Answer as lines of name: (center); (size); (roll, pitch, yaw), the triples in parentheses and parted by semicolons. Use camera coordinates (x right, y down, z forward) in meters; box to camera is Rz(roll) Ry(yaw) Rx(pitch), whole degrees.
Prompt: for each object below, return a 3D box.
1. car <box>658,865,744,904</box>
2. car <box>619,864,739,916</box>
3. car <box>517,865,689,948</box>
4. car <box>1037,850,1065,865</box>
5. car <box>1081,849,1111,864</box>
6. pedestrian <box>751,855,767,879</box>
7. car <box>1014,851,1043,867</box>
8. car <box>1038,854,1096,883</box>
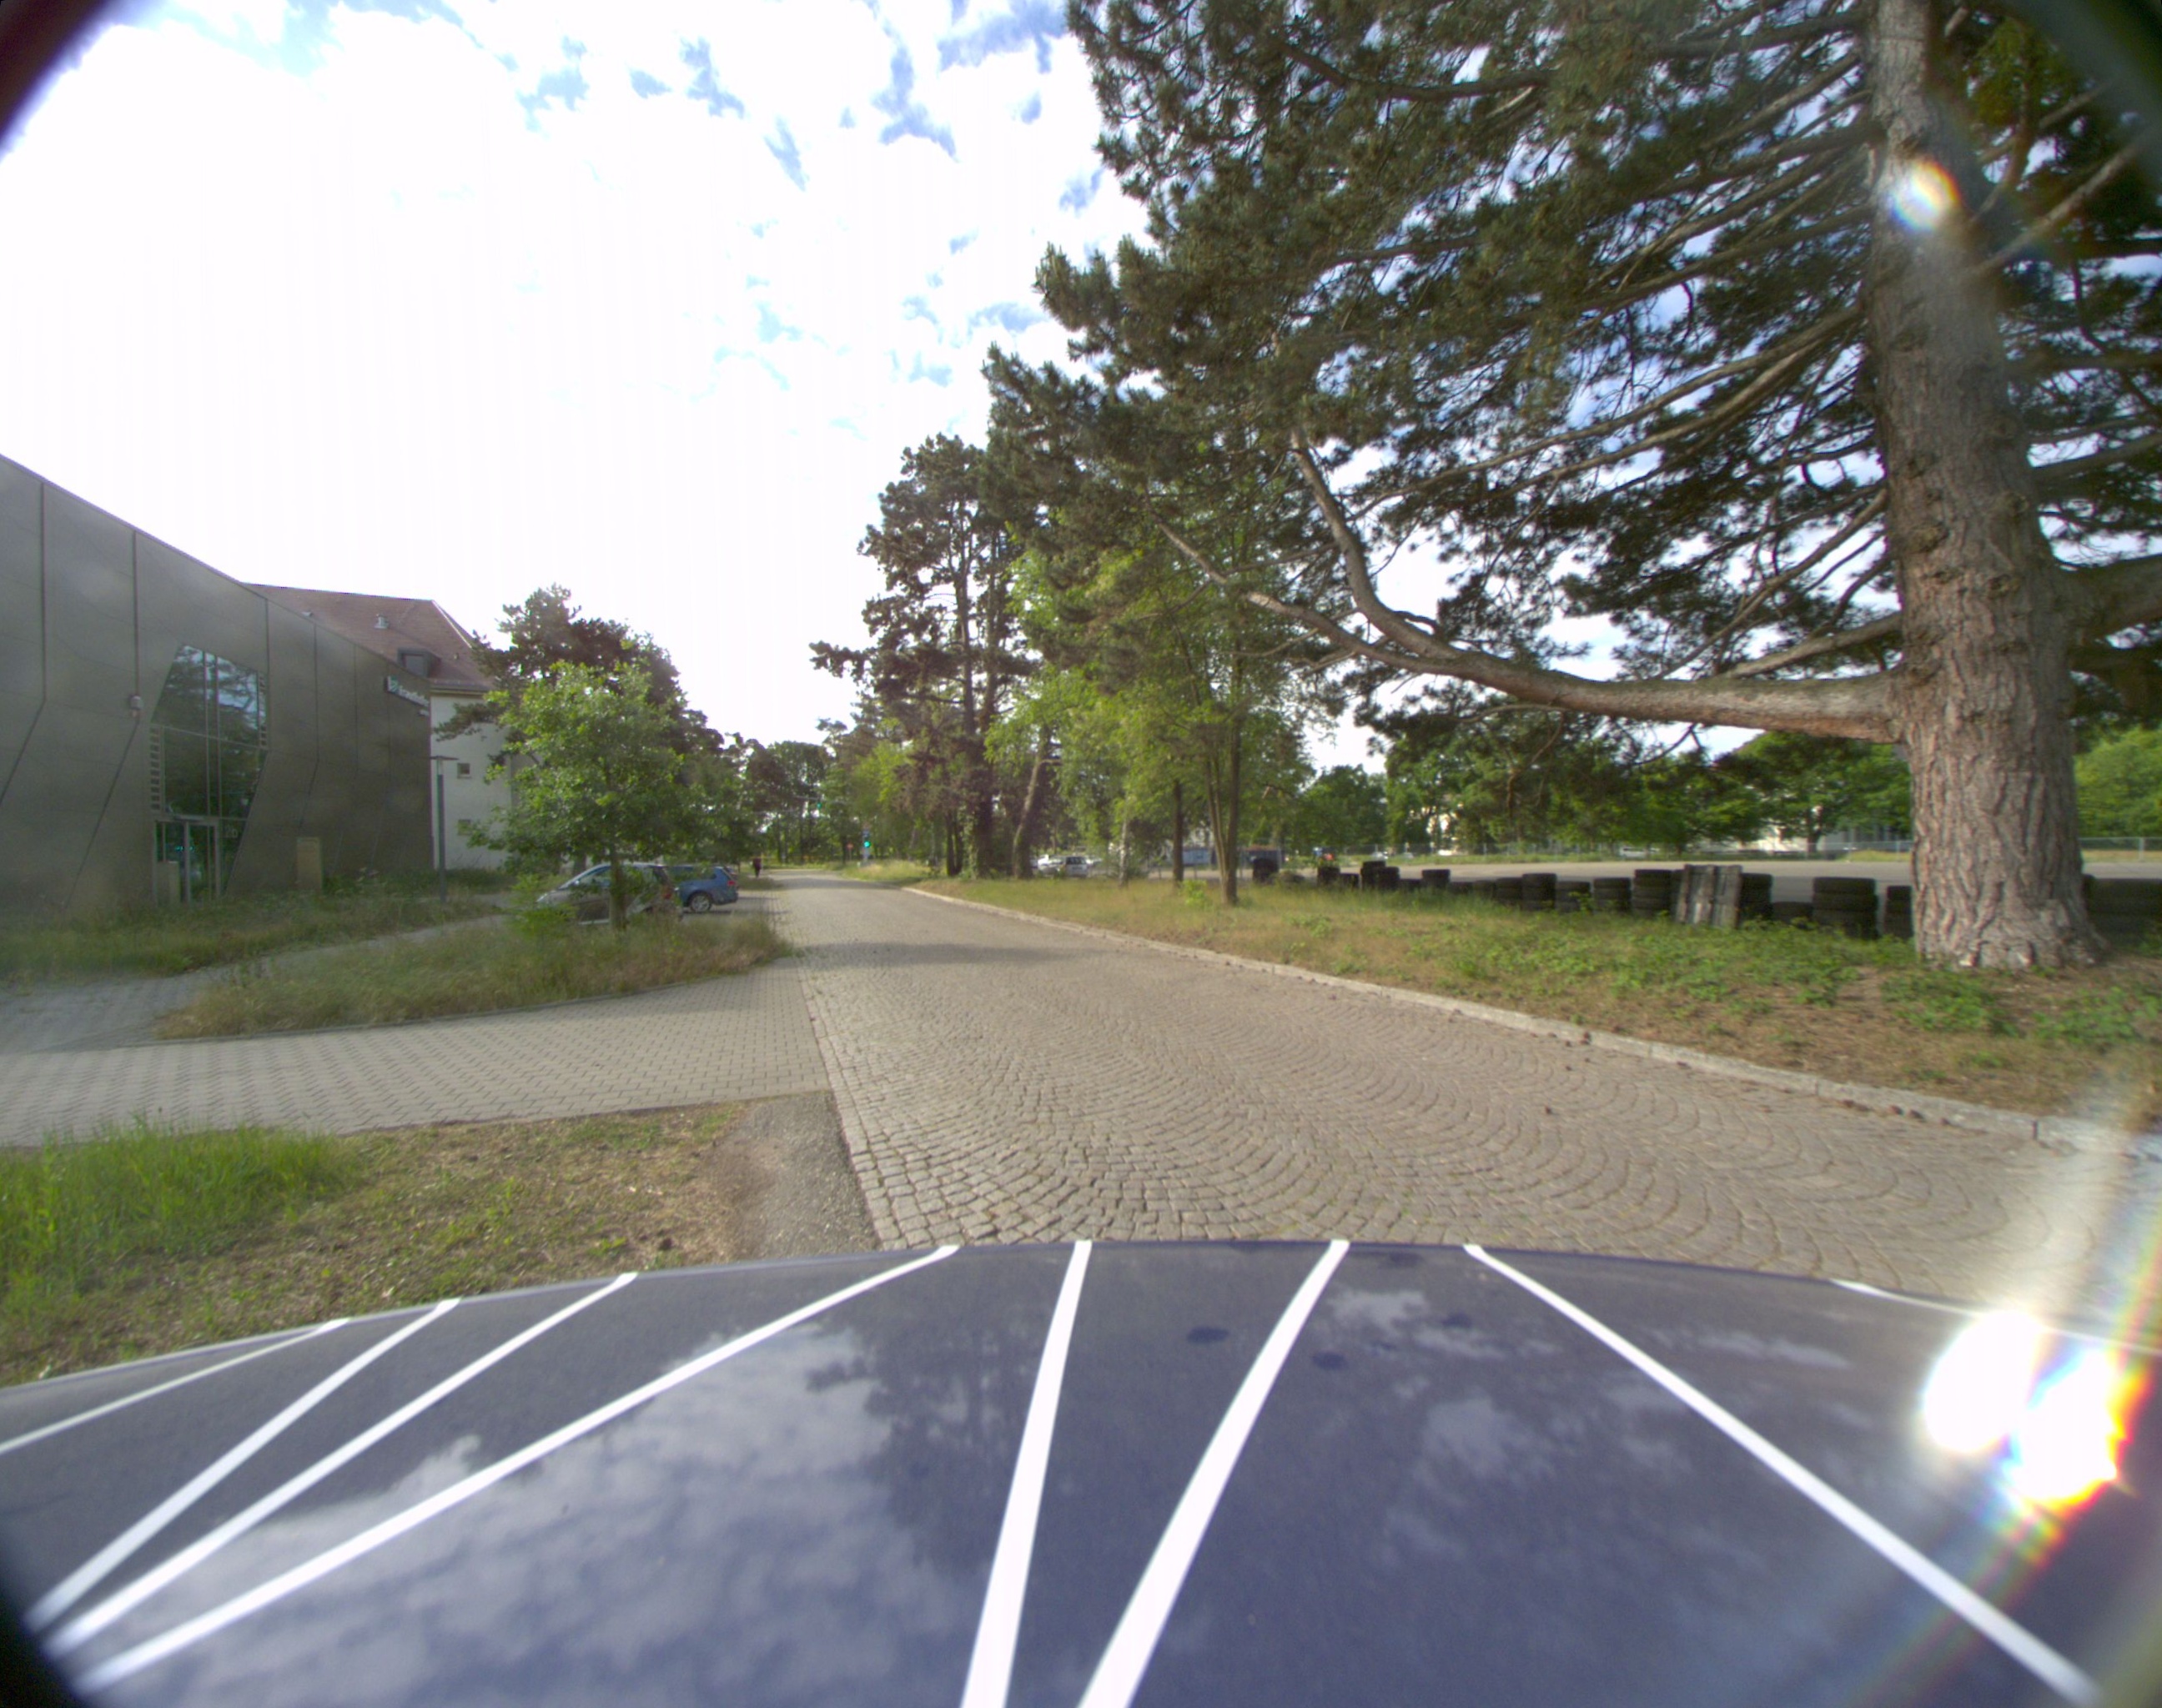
car: (-15.777, 1.236, 31.598); (3.098, 1.441, 1.488); (-1, 0, -28)
car: (-12.079, 1.069, 22.979); (3.098, 1.448, 1.489); (1, -1, -27)
car: (-9.945, 1.051, 16.004); (2.771, 1.540, 1.423); (-1, 0, -18)
car: (-3.293, 0.403, 82.723); (1.828, 1.608, 3.993); (-1, 0, -20)
car: (1.637, 0.283, 85.349); (2.002, 1.608, 3.992); (-1, 0, -22)
pedestrian: (-25.274, 1.032, 59.656); (0.961, 1.833, 0.953); (-1, 1, -36)
car: (-5.647, 0.496, 81.493); (2.002, 1.608, 3.992); (-1, 0, -22)
car: (-0.848, 0.795, 43.115); (1.894, 1.532, 3.992); (-1, 0, -24)
